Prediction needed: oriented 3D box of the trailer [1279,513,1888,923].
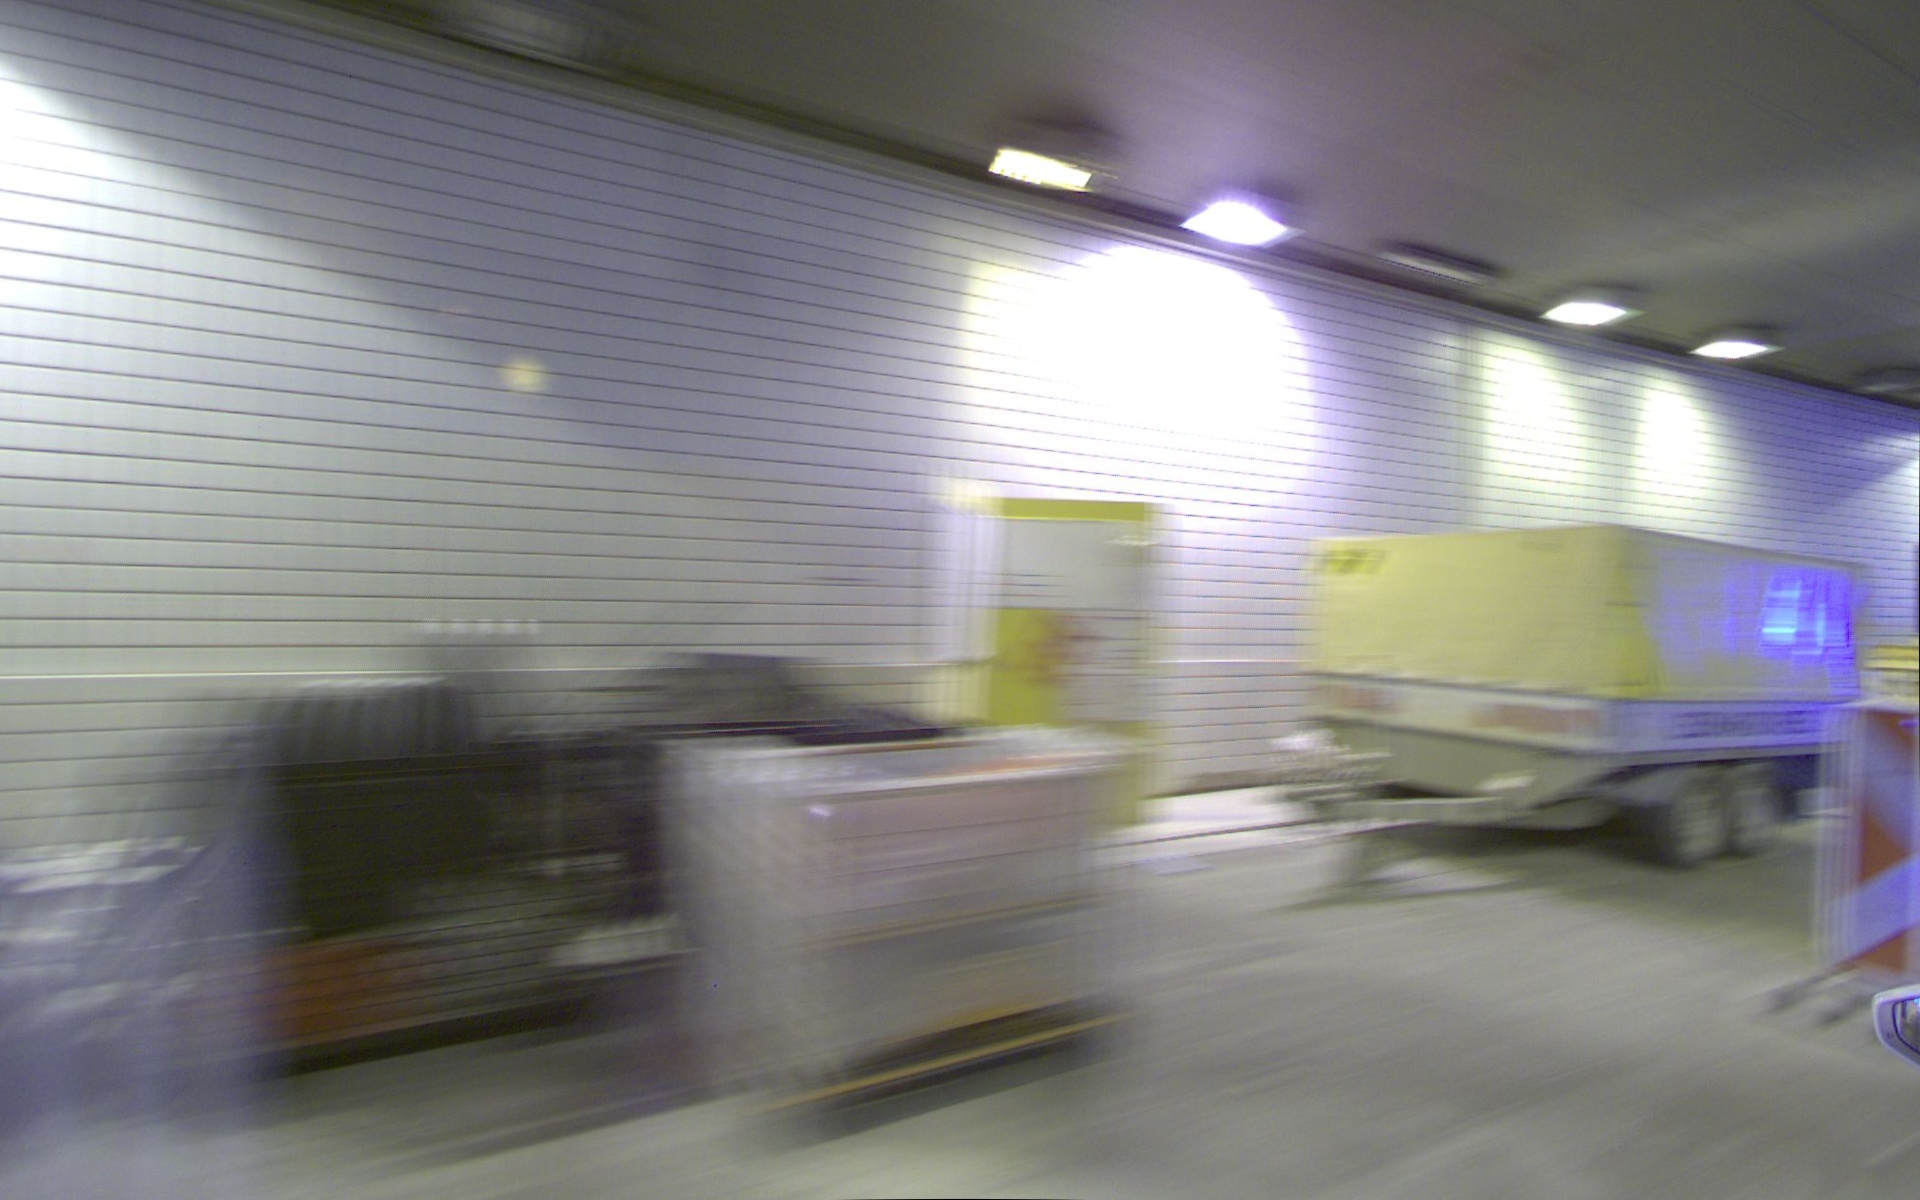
[{"bbox_3d":[4.231,0.633,6.840,3.427,2.040,2.197,2,-1,-31],"label":"trailer"}]
